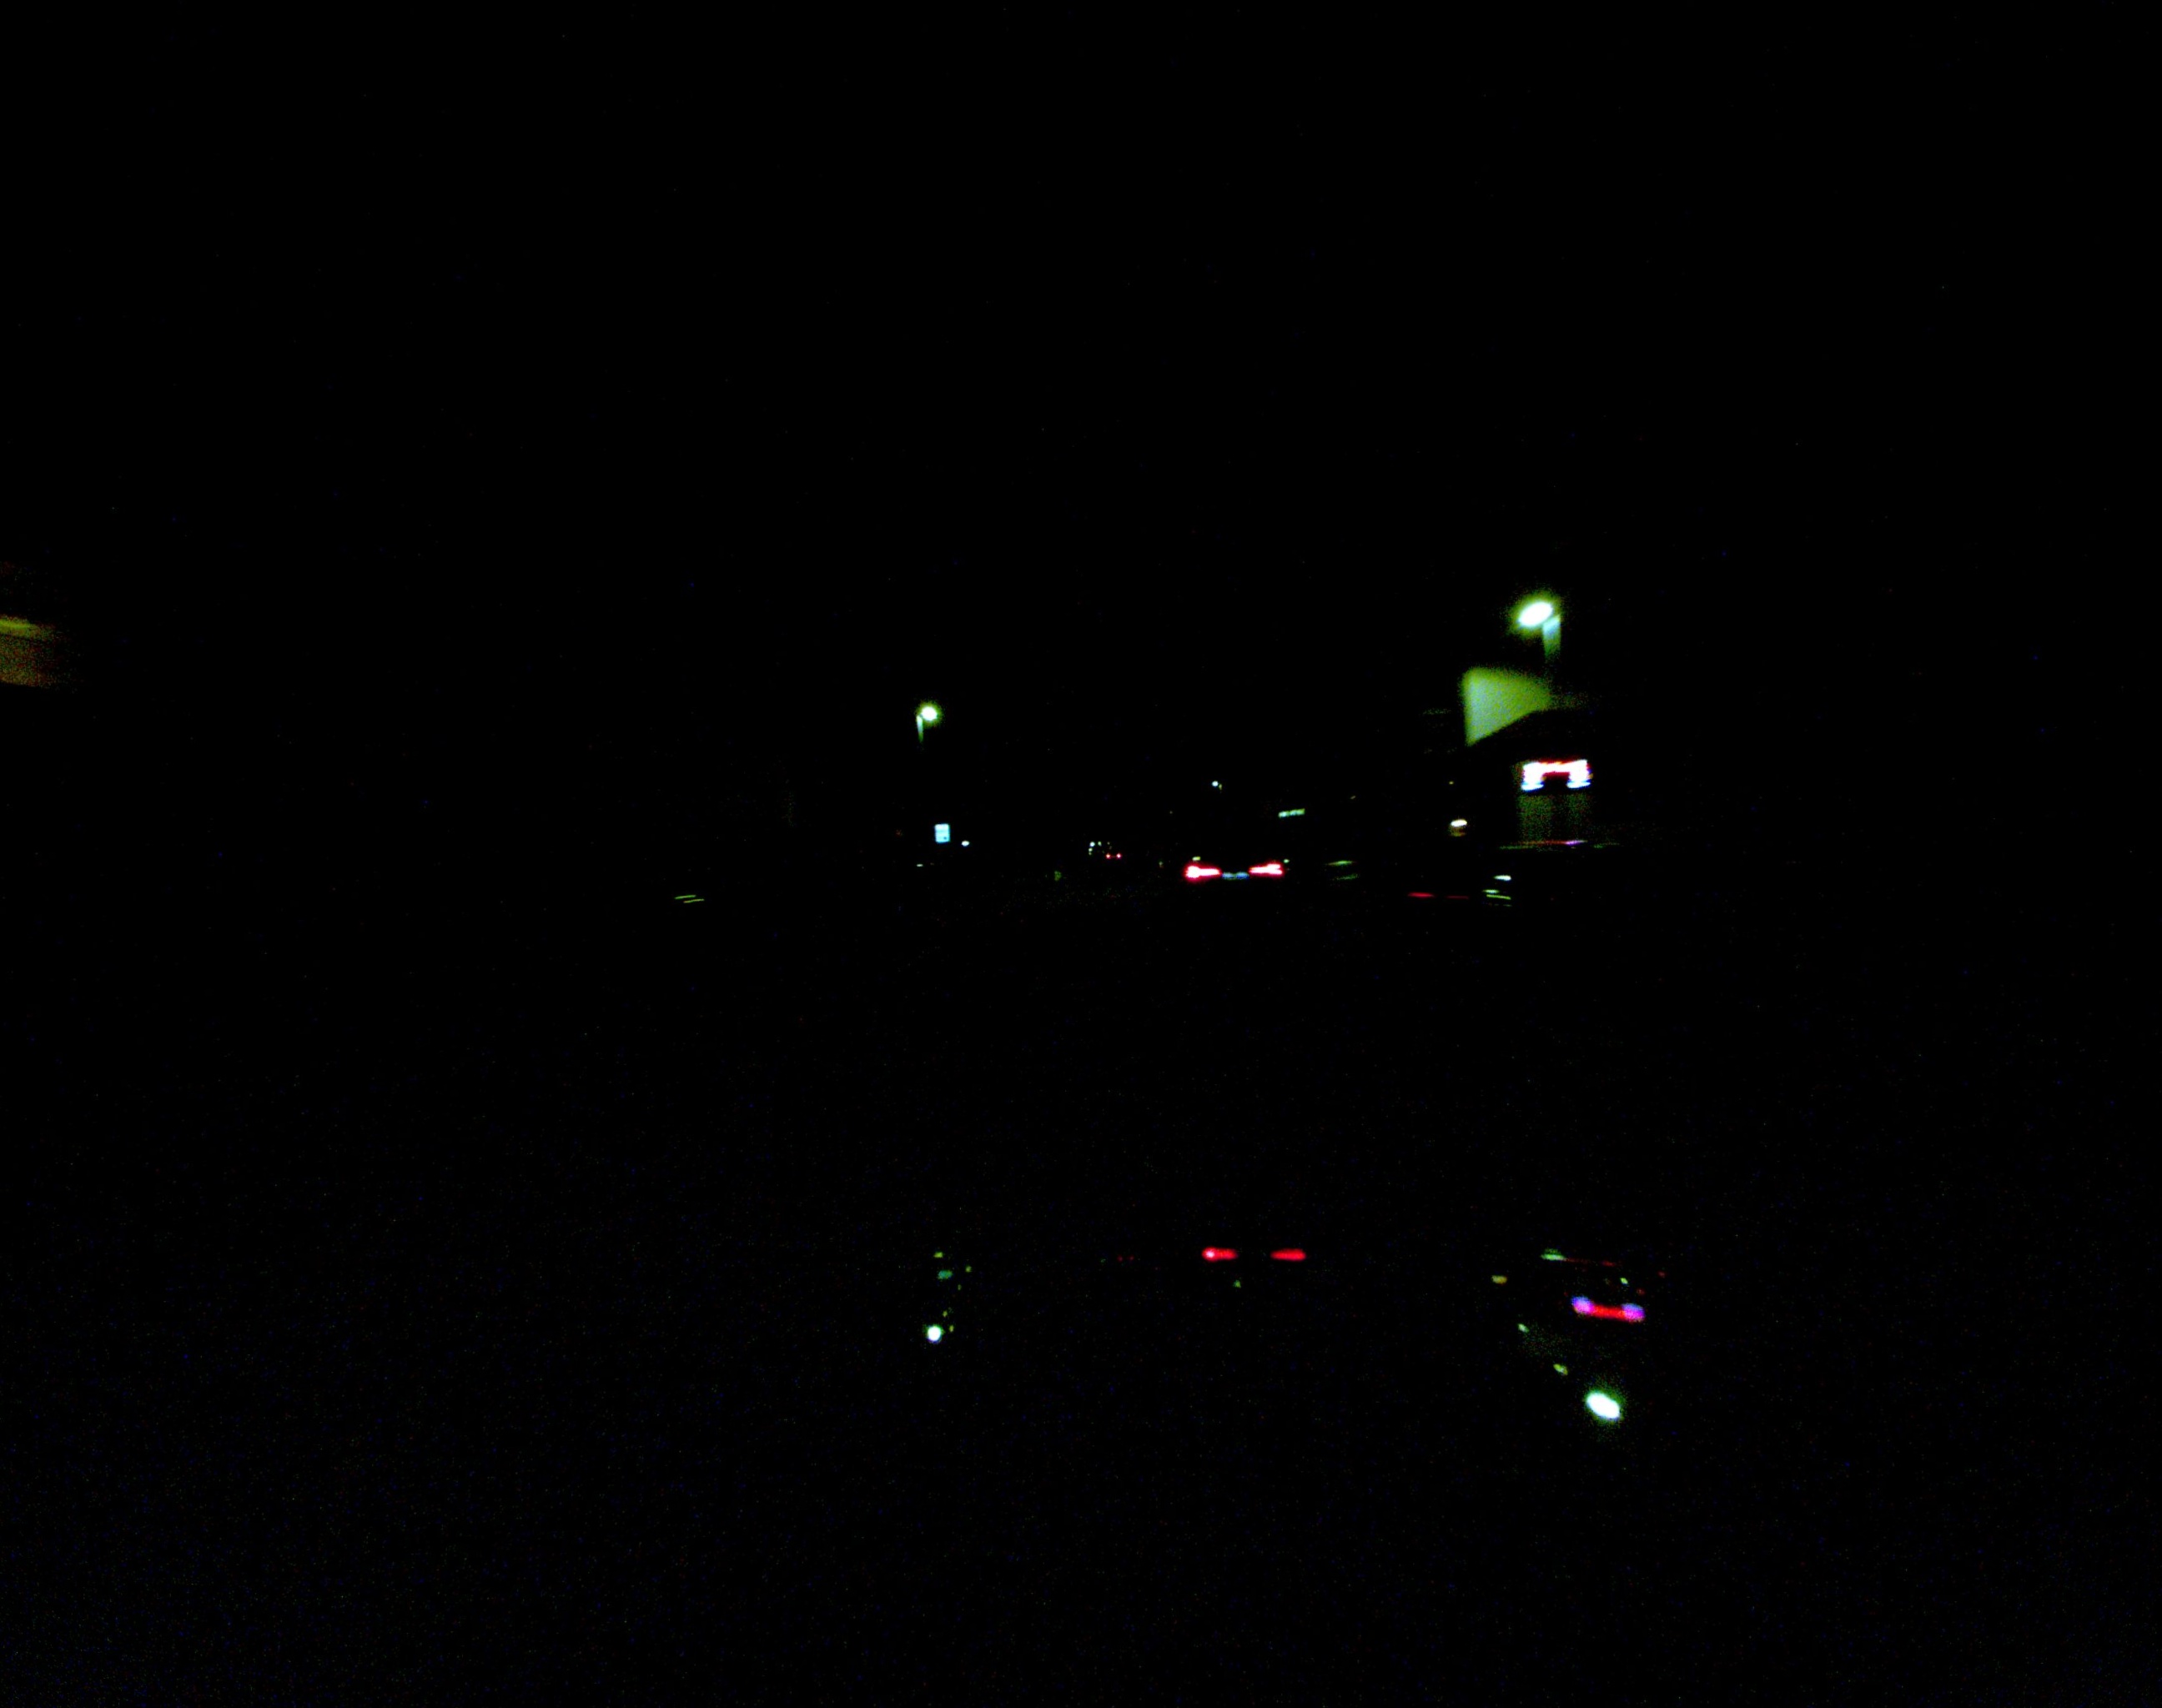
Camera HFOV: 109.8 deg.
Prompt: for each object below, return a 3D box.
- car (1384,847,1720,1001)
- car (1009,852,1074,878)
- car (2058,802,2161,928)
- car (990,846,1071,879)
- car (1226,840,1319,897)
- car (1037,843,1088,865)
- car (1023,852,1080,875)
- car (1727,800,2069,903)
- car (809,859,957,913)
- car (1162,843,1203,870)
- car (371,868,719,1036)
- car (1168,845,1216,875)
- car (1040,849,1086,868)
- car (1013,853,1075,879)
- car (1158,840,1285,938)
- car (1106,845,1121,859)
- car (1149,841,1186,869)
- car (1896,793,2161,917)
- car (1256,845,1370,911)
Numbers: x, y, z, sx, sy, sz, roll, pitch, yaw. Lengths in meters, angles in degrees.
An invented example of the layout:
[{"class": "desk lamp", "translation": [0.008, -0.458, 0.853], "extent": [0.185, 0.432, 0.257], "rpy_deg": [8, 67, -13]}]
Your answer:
[{"class": "car", "translation": [5.559, 0.701, 9.681], "extent": [1.753, 1.460, 4.008], "rpy_deg": [-3, 0, 0]}, {"class": "car", "translation": [-2.463, 0.689, 47.721], "extent": [3.926, 1.505, 1.854], "rpy_deg": [-2, 1, -2]}, {"class": "car", "translation": [14.470, 0.098, 8.601], "extent": [3.995, 1.456, 2.000], "rpy_deg": [-1, 2, 4]}, {"class": "car", "translation": [-2.938, 0.487, 44.743], "extent": [4.363, 1.805, 2.032], "rpy_deg": [-2, 1, 7]}, {"class": "car", "translation": [6.303, 0.439, 25.510], "extent": [1.933, 1.627, 4.470], "rpy_deg": [-4, 0, 0]}, {"class": "car", "translation": [-1.921, -0.034, 80.267], "extent": [5.156, 2.084, 2.259], "rpy_deg": [-2, 1, 1]}, {"class": "car", "translation": [-2.122, 0.693, 55.784], "extent": [3.924, 1.542, 1.988], "rpy_deg": [-2, 1, 6]}, {"class": "car", "translation": [14.718, -0.057, 13.846], "extent": [4.325, 1.552, 2.028], "rpy_deg": [-3, 1, -6]}, {"class": "car", "translation": [-5.886, 0.932, 22.933], "extent": [3.914, 1.477, 1.832], "rpy_deg": [-1, 1, 1]}, {"class": "car", "translation": [6.836, 0.178, 51.801], "extent": [2.121, 1.661, 4.169], "rpy_deg": [-3, 0, 0]}, {"class": "car", "translation": [-6.272, 1.023, 9.491], "extent": [1.643, 1.551, 3.678], "rpy_deg": [-2, 1, 0]}, {"class": "car", "translation": [6.736, 0.331, 46.559], "extent": [2.121, 1.539, 4.475], "rpy_deg": [-4, 1, -1]}, {"class": "car", "translation": [-1.693, 0.428, 73.974], "extent": [4.287, 1.688, 2.000], "rpy_deg": [-2, 0, 1]}, {"class": "car", "translation": [-2.420, 0.756, 49.963], "extent": [3.926, 1.505, 1.854], "rpy_deg": [-2, 2, 1]}, {"class": "car", "translation": [2.861, 0.632, 16.470], "extent": [2.008, 1.738, 4.558], "rpy_deg": [-3, 1, 2]}, {"class": "car", "translation": [4.392, -0.276, 102.348], "extent": [1.724, 1.705, 3.960], "rpy_deg": [-3, 0, -1]}, {"class": "car", "translation": [6.609, 0.043, 58.524], "extent": [2.121, 1.935, 4.887], "rpy_deg": [-4, 0, 0]}, {"class": "car", "translation": [15.197, -0.051, 11.212], "extent": [3.996, 1.608, 2.000], "rpy_deg": [-3, 1, 5]}, {"class": "car", "translation": [6.060, 0.567, 20.322], "extent": [1.775, 1.460, 3.966], "rpy_deg": [-4, 0, 0]}]
